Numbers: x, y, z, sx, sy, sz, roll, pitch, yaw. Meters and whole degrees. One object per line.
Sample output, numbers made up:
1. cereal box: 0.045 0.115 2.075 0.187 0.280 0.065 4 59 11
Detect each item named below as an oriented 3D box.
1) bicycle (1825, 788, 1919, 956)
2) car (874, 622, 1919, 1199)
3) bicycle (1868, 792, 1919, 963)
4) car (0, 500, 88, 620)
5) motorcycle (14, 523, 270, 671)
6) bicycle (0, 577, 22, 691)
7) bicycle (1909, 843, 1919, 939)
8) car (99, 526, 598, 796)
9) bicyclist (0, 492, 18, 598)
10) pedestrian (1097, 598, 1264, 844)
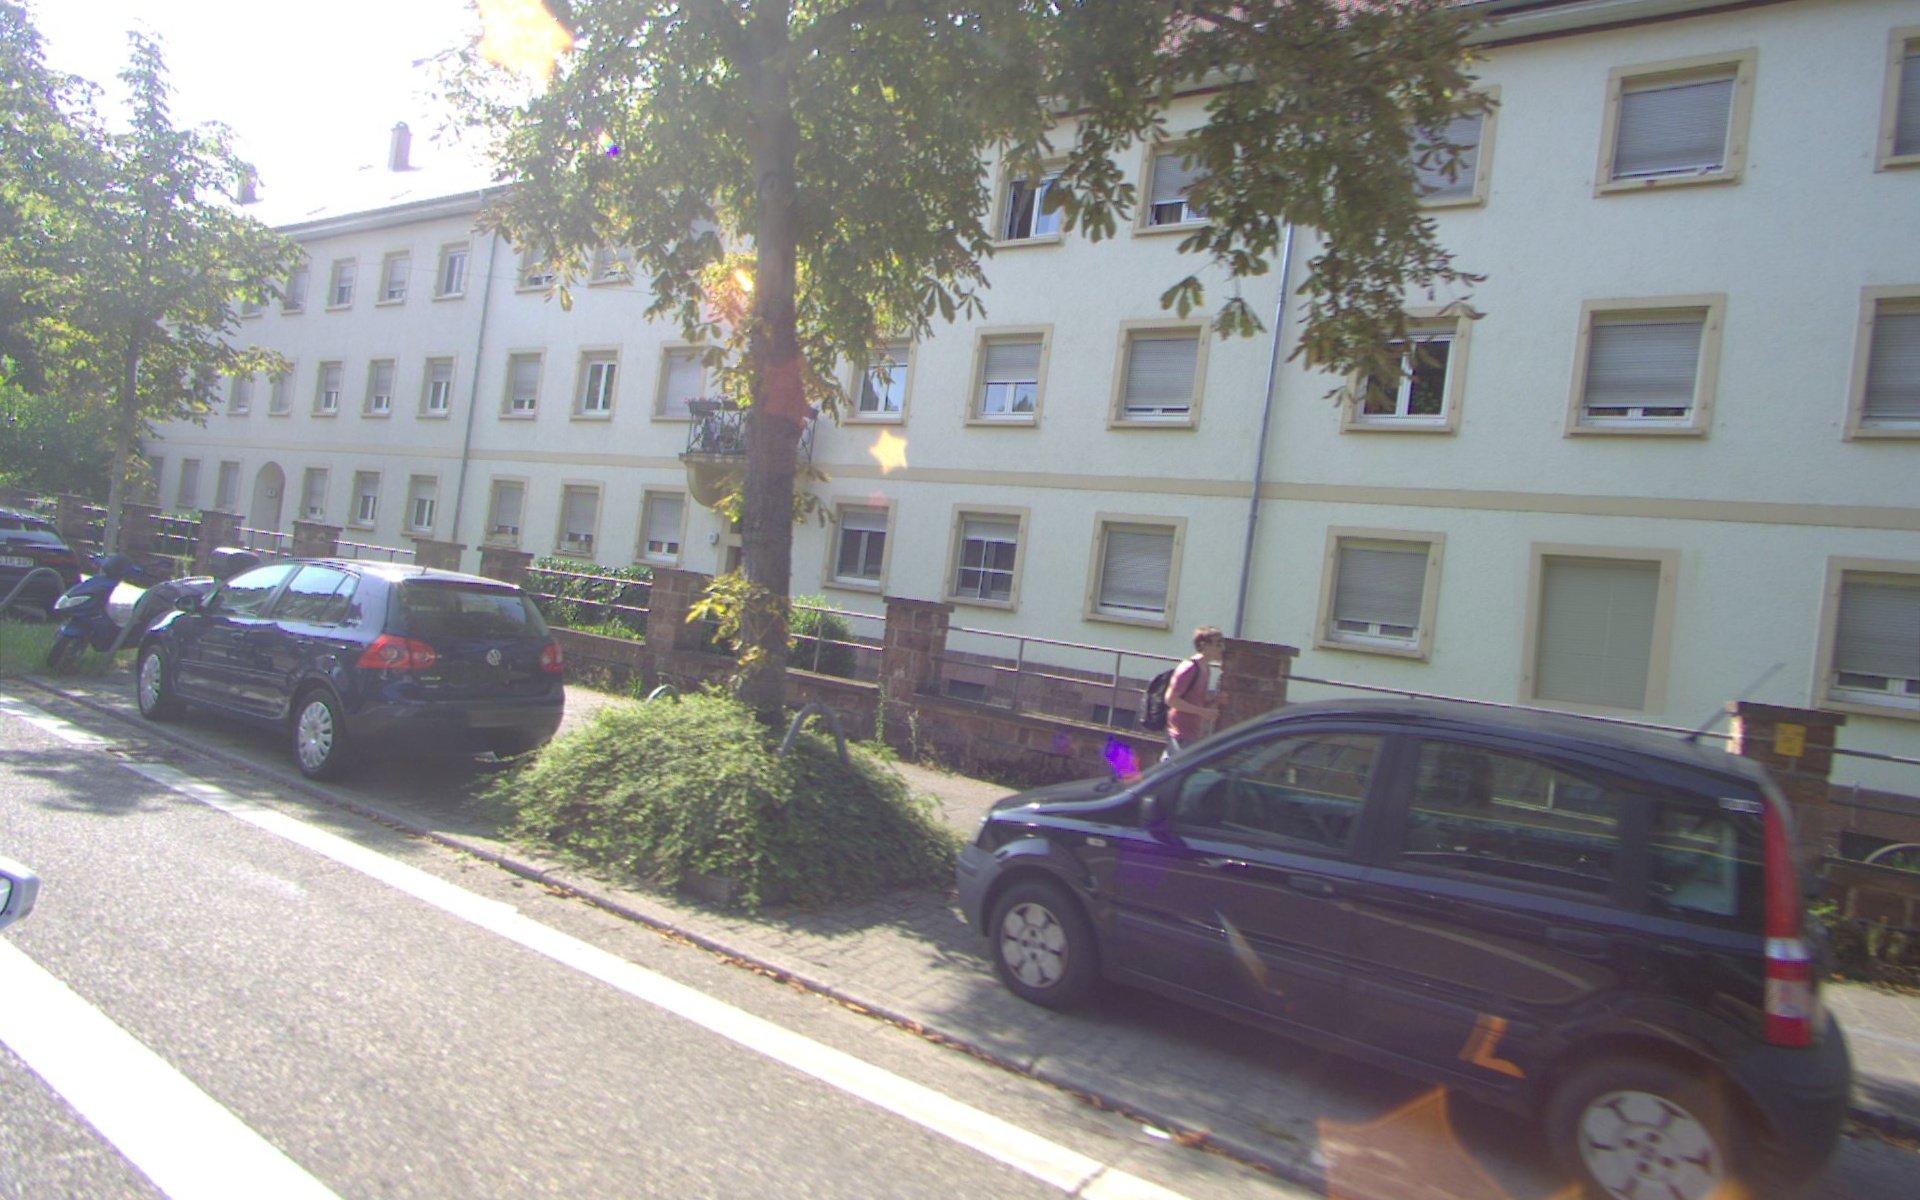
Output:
1. bicycle: 7.369 2.056 7.142 1.700 1.085 0.524 7 -1 32
2. car: 1.643 1.116 4.455 3.783 1.559 1.645 7 0 37
3. bicycle: 7.168 1.976 6.553 1.700 1.085 0.524 7 -1 32
4. car: -14.030 -0.716 13.913 4.264 1.453 1.691 7 1 31
5. motorcycle: -8.454 -0.011 10.490 0.693 1.307 1.856 13 5 28
6. bicycle: -8.833 0.177 8.578 1.745 0.918 0.656 7 -3 31
7. bicycle: 8.103 2.130 7.228 1.700 1.085 0.524 7 -1 32
8. car: -5.045 0.358 8.130 4.175 1.466 1.647 7 0 32
9. bicyclist: -8.757 -0.256 8.584 0.893 1.490 0.656 7 -3 31
10. pedestrian: 1.771 0.947 8.067 0.865 1.769 0.752 7 -1 38
